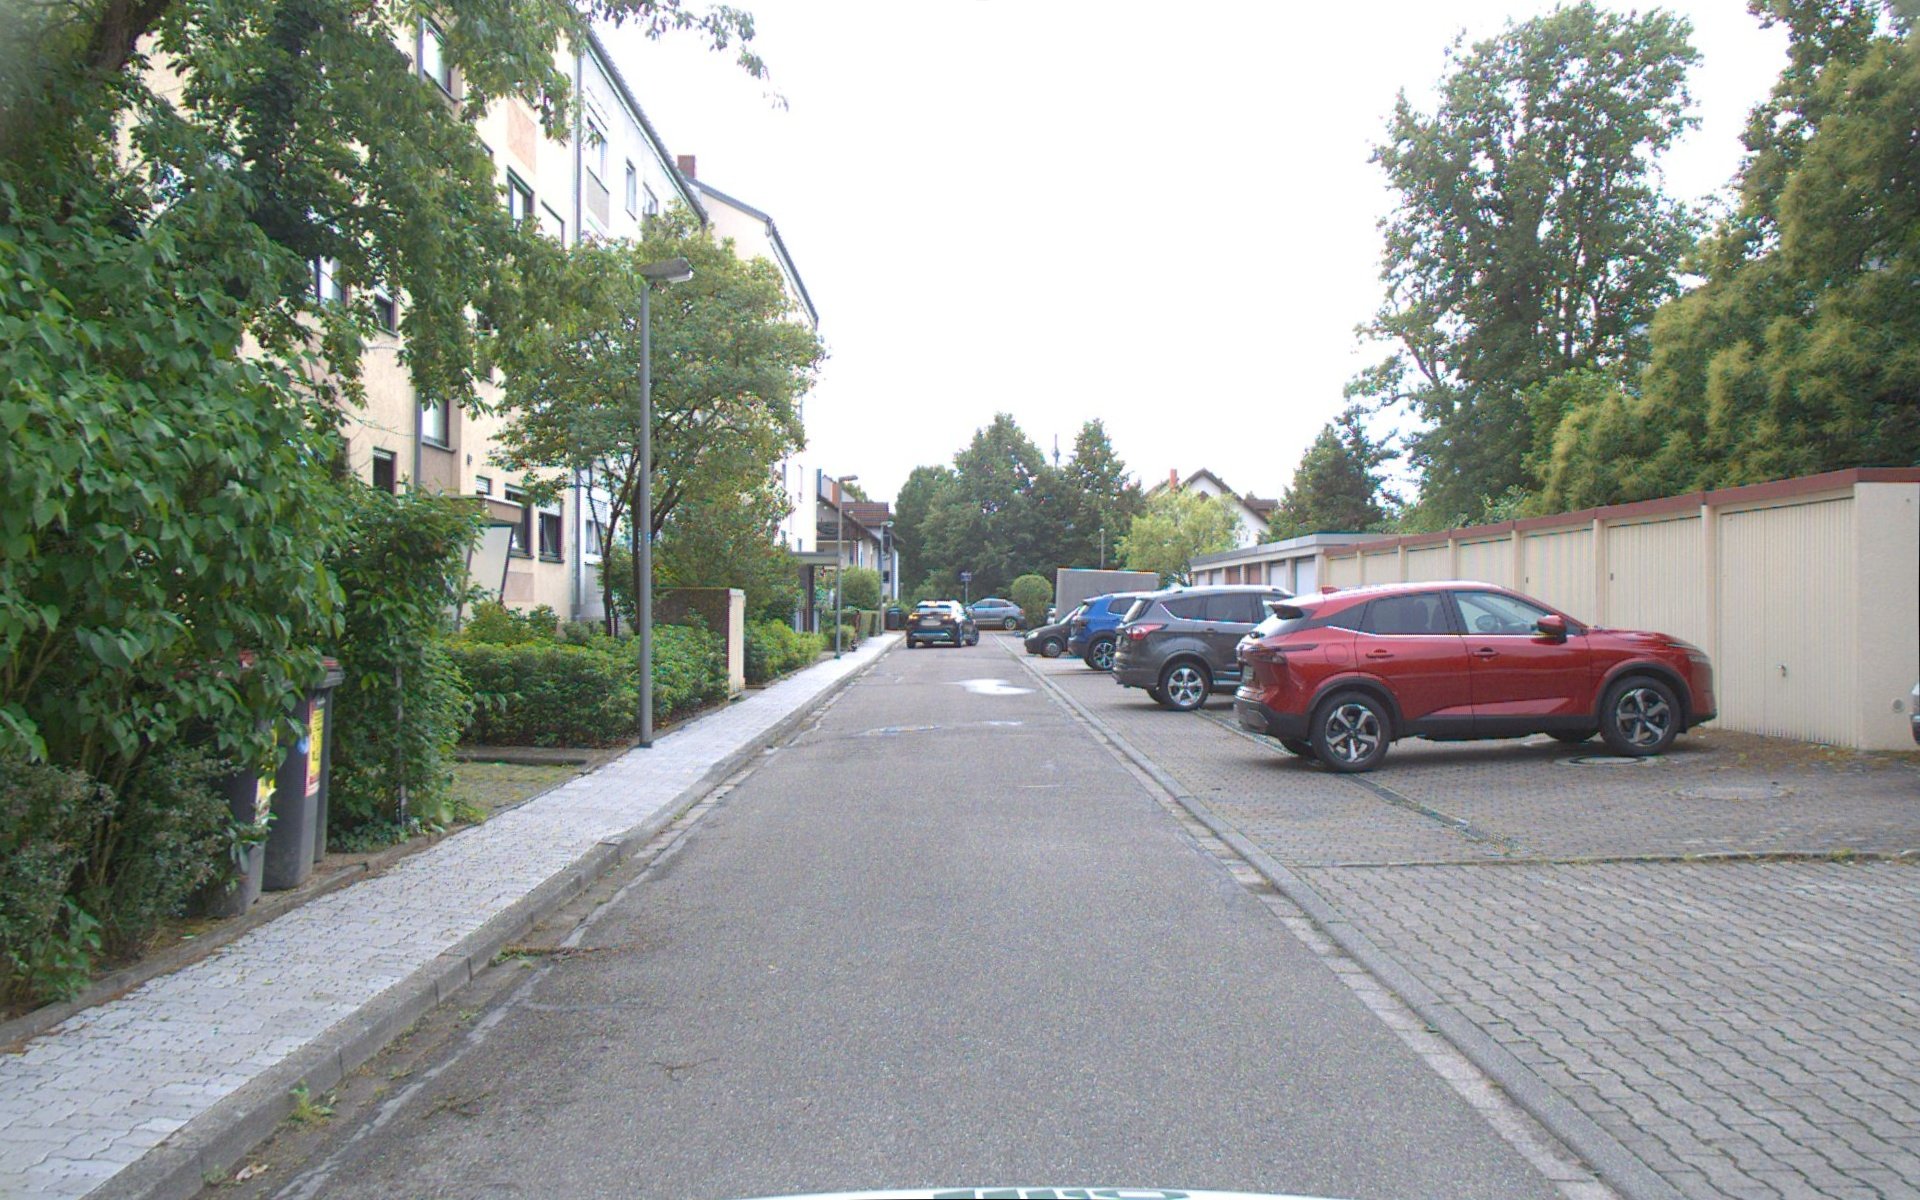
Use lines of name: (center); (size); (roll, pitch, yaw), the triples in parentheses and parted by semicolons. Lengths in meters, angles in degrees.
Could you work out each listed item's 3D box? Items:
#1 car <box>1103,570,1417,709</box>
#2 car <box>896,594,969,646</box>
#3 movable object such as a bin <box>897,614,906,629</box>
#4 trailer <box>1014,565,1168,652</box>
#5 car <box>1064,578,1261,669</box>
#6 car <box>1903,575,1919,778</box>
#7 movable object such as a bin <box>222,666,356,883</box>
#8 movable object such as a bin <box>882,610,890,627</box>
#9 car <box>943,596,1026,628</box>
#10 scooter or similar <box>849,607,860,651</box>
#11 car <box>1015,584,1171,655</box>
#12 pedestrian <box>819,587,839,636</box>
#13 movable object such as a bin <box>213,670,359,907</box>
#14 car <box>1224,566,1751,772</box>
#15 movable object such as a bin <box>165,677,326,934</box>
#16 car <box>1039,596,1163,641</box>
car: (4.260, 0.547, 23.944); (4.110, 1.757, 2.000); (-2, 0, -1)
car: (-0.854, 0.626, 54.291); (1.951, 1.579, 4.002); (-2, 0, 4)
movable object such as a bin: (-3.101, 1.130, 87.442); (0.450, 0.811, 0.379); (1, -1, -3)
trailer: (3.930, 0.254, 50.130); (4.515, 2.569, 1.942); (0, 0, 0)
car: (4.304, 0.485, 35.551); (3.906, 1.733, 2.000); (-2, 0, -1)
car: (8.839, 0.542, 11.357); (3.747, 1.473, 1.713); (-1, 0, 1)
movable object such as a bin: (-3.479, 0.885, 8.612); (0.586, 1.040, 0.534); (-2, 0, -20)
movable object such as a bin: (-3.892, 0.964, 87.253); (0.378, 0.905, 0.379); (1, -1, -3)
car: (1.239, 0.610, 83.730); (4.151, 1.558, 1.747); (0, -2, -1)
scooter or similar: (-3.027, 0.833, 47.443); (0.267, 1.232, 1.164); (0, 0, -1)
car: (3.771, 0.548, 47.474); (4.223, 1.833, 1.999); (-2, 0, -1)
pedestrian: (-4.830, 0.431, 61.003); (0.665, 1.779, 0.756); (1, -1, -3)
movable object such as a bin: (-3.226, 0.883, 7.958); (0.586, 1.040, 0.534); (-2, 0, -20)
car: (4.728, 0.590, 15.284); (4.202, 1.613, 1.935); (-2, 0, -2)
movable object such as a bin: (-3.164, 0.888, 7.365); (0.586, 1.040, 0.534); (-2, 0, -20)
car: (5.140, 0.651, 60.808); (4.443, 1.616, 1.988); (0, 0, 1)
